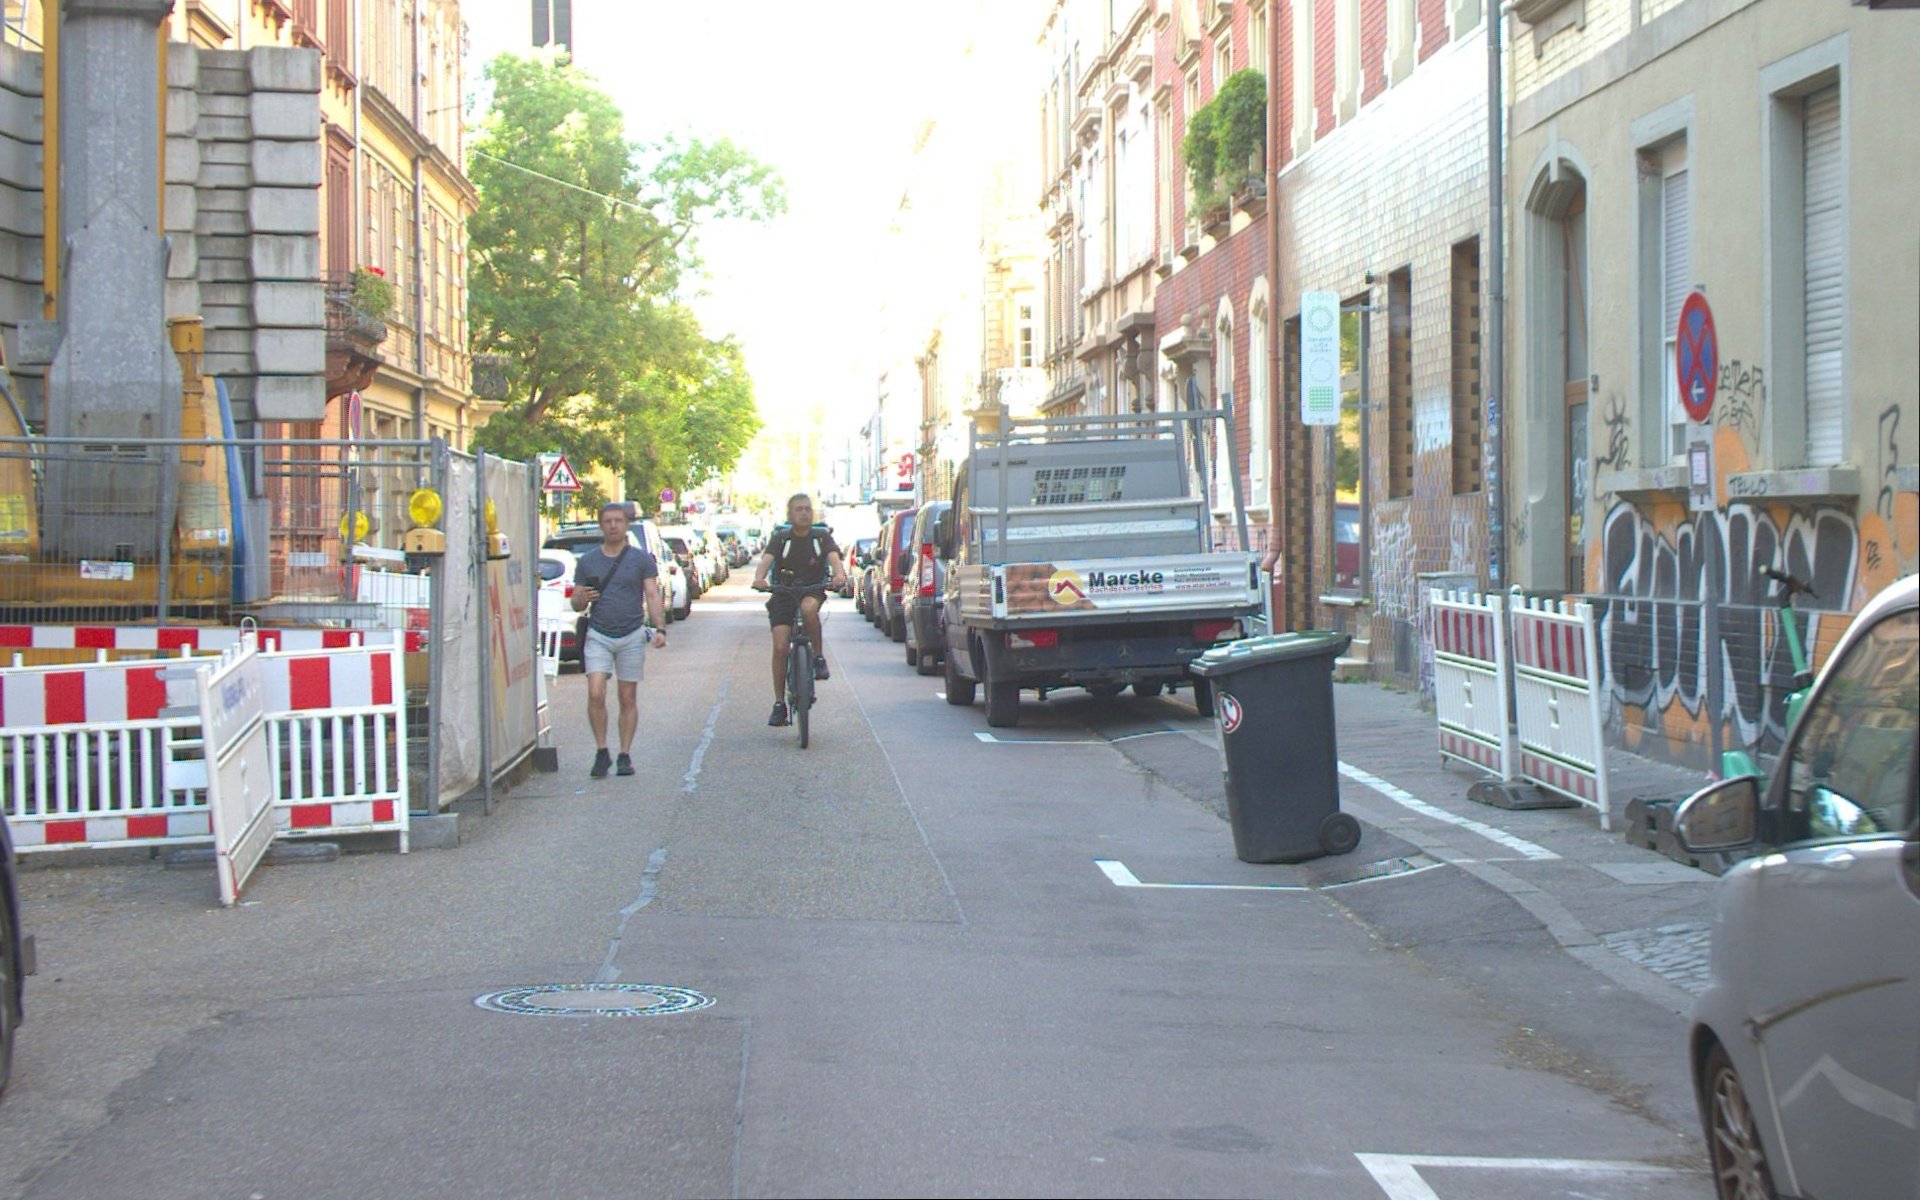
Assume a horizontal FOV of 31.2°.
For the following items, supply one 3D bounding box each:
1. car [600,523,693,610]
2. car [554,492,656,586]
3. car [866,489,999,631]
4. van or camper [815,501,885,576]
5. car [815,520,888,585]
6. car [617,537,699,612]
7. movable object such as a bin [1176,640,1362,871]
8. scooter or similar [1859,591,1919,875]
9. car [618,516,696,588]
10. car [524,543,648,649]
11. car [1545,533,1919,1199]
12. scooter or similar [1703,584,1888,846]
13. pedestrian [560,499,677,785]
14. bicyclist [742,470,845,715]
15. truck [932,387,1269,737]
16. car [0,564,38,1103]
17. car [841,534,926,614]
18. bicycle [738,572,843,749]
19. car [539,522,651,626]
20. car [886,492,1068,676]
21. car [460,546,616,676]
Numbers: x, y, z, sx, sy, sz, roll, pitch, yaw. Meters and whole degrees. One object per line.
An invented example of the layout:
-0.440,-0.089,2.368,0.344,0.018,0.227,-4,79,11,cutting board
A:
-5.906,-0.647,64.782,1.674,1.565,3.870,-1,1,-5,car
-6.125,-1.052,59.569,1.674,1.565,3.870,-1,1,-5,car
-0.452,-0.607,51.656,1.674,2.024,3.870,-1,1,-5,car
-3.804,-2.113,118.111,1.993,2.500,4.203,-2,1,-7,van or camper
-3.262,-1.426,102.545,1.993,1.842,4.001,-2,1,-4,car
-7.660,-0.669,87.532,1.993,1.842,4.001,-1,1,-4,car
1.472,0.734,16.469,0.795,1.052,0.660,-1,1,-3,movable object such as a bin
4.238,0.564,14.447,0.418,1.174,1.495,-3,1,-3,scooter or similar
-8.168,-1.315,92.950,1.993,1.842,4.001,-2,1,-4,car
-5.346,-0.081,49.430,1.674,1.440,3.870,-1,1,-5,car
2.305,0.650,6.717,1.596,1.555,3.814,-1,1,-1,car
4.024,0.528,16.639,0.418,1.174,1.495,-3,1,-3,scooter or similar
-2.102,0.247,21.256,0.657,1.727,0.720,-1,1,-3,pedestrian
-1.211,-0.066,25.000,0.730,1.755,0.835,0,2,-3,bicyclist
1.047,-0.338,28.700,2.189,2.598,5.235,-2,1,-4,truck
-3.376,0.680,7.526,1.674,1.472,4.608,-1,1,-3,car
-2.025,-0.701,89.556,1.993,2.007,4.001,-1,1,-4,car
-1.230,0.416,25.012,0.724,1.182,2.043,0,2,-3,bicycle
-5.735,-0.422,54.305,1.674,1.565,3.870,-1,1,-5,car
0.138,-0.205,39.177,1.674,1.956,4.110,-1,1,-5,car
-4.940,0.093,40.624,1.674,1.440,3.870,-1,1,-5,car
